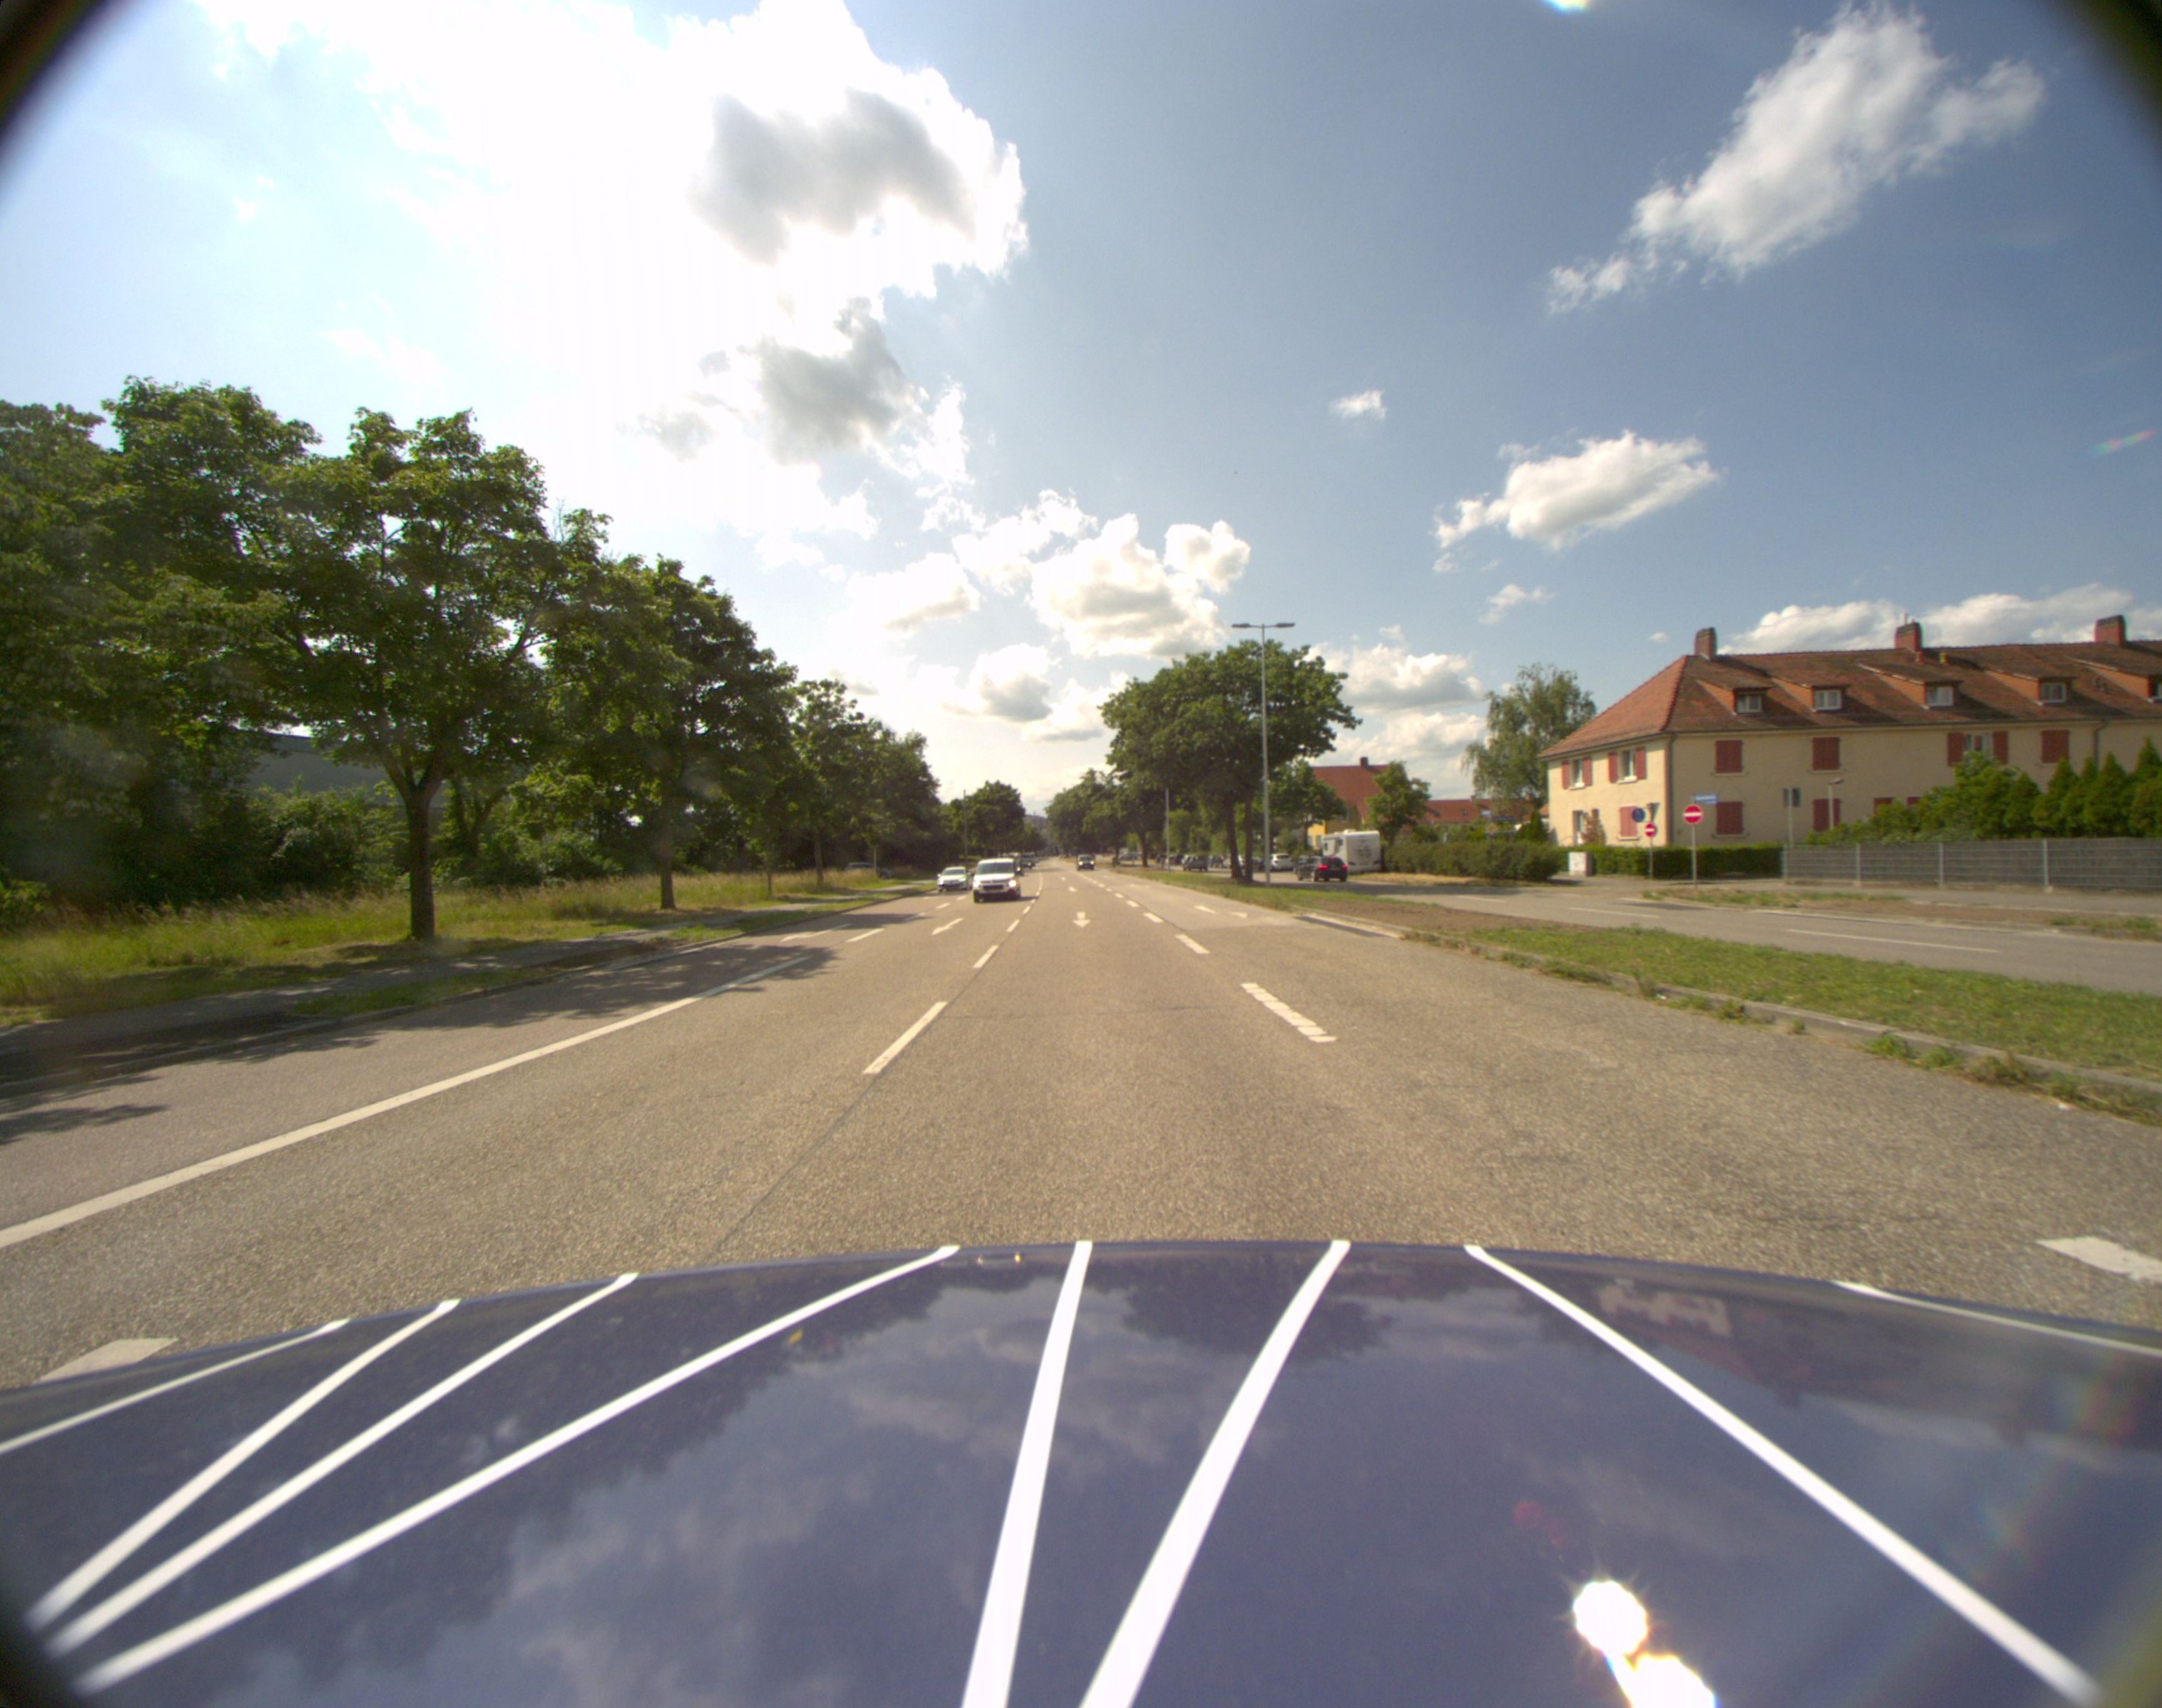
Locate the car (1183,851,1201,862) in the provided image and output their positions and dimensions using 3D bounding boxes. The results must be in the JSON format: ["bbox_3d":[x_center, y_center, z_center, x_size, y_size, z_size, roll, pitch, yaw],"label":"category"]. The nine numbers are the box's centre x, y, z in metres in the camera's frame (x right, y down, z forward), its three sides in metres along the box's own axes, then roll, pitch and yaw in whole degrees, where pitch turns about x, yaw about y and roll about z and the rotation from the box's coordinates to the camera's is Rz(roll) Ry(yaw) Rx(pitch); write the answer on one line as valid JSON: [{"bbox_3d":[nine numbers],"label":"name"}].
[{"bbox_3d":[15.774,0.381,108.069,1.665,1.443,3.845,-4,1,-3],"label":"car"}]

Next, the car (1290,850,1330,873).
[{"bbox_3d":[17.206,0.530,57.274,1.640,1.477,3.991,-4,1,-1],"label":"car"}]

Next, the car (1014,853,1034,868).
[{"bbox_3d":[-5.730,0.626,76.365,1.892,1.281,3.998,-4,1,-3],"label":"car"}]

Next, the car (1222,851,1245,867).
[{"bbox_3d":[16.539,0.511,82.495,1.406,1.548,3.741,-4,1,-3],"label":"car"}]

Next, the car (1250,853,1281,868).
[{"bbox_3d":[17.055,0.589,70.575,1.640,1.298,4.583,-4,0,-1],"label":"car"}]

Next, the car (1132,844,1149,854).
[{"bbox_3d":[14.466,-1.204,185.286,1.800,2.002,4.007,-2,2,45],"label":"car"}]

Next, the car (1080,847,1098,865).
[{"bbox_3d":[0.885,0.216,85.361,1.768,1.893,4.540,-4,1,-1],"label":"car"}]

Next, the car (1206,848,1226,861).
[{"bbox_3d":[16.324,0.058,92.190,1.566,1.387,3.476,-4,1,-3],"label":"car"}]

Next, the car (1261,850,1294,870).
[{"bbox_3d":[16.888,0.513,65.453,1.693,1.477,4.123,-4,1,-1],"label":"car"}]

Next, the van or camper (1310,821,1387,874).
[{"bbox_3d":[17.451,-0.392,50.073,2.264,3.094,7.319,-4,0,0],"label":"van or camper"}]

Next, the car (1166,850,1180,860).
[{"bbox_3d":[14.696,0.168,121.568,1.598,1.453,3.533,-4,1,-3],"label":"car"}]

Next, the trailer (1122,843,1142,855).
[{"bbox_3d":[14.192,-1.373,210.343,2.821,3.090,5.763,-4,0,35],"label":"trailer"}]

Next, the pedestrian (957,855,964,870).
[{"bbox_3d":[-15.183,1.036,95.640,0.719,1.784,0.739,-4,2,-4],"label":"pedestrian"}]

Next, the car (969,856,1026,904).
[{"bbox_3d":[-3.499,1.048,32.699,1.936,1.774,4.715,-4,0,-2],"label":"car"}]

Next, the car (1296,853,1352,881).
[{"bbox_3d":[13.534,0.697,42.597,1.776,1.430,4.575,-1,1,1],"label":"car"}]

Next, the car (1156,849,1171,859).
[{"bbox_3d":[14.324,0.052,132.343,1.772,1.543,3.998,-4,1,-3],"label":"car"}]

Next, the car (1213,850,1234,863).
[{"bbox_3d":[16.421,0.227,87.691,1.406,1.387,4.355,-4,0,-3],"label":"car"}]

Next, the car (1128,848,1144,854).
[{"bbox_3d":[13.762,-0.730,190.670,1.569,1.390,4.007,-2,2,45],"label":"car"}]

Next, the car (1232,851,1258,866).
[{"bbox_3d":[16.632,0.472,77.339,1.514,1.362,4.530,-4,0,-1],"label":"car"}]

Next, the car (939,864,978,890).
[{"bbox_3d":[-7.572,1.399,47.298,1.737,1.477,4.092,-2,0,0],"label":"car"}]

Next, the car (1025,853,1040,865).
[{"bbox_3d":[-7.193,0.739,112.809,1.758,1.482,3.999,-4,1,1],"label":"car"}]

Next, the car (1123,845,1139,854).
[{"bbox_3d":[12.820,-1.148,193.835,1.800,2.002,4.007,-2,2,45],"label":"car"}]

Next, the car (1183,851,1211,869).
[{"bbox_3d":[10.856,0.535,71.628,1.737,1.499,4.651,1,1,-2],"label":"car"}]

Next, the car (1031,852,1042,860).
[{"bbox_3d":[-8.013,0.404,137.726,1.892,1.281,3.998,-4,1,-3],"label":"car"}]

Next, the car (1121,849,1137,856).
[{"bbox_3d":[12.548,-0.291,198.248,3.998,1.502,1.799,-4,1,-2],"label":"car"}]

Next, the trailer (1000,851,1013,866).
[{"bbox_3d":[-12.096,0.653,124.194,1.958,2.338,4.603,-1,1,-4],"label":"trailer"}]

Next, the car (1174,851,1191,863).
[{"bbox_3d":[15.375,0.453,115.513,1.665,1.603,4.312,-4,1,-3],"label":"car"}]

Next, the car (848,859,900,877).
[{"bbox_3d":[-18.174,1.259,66.999,4.176,1.484,1.784,1,-2,-6],"label":"car"}]
